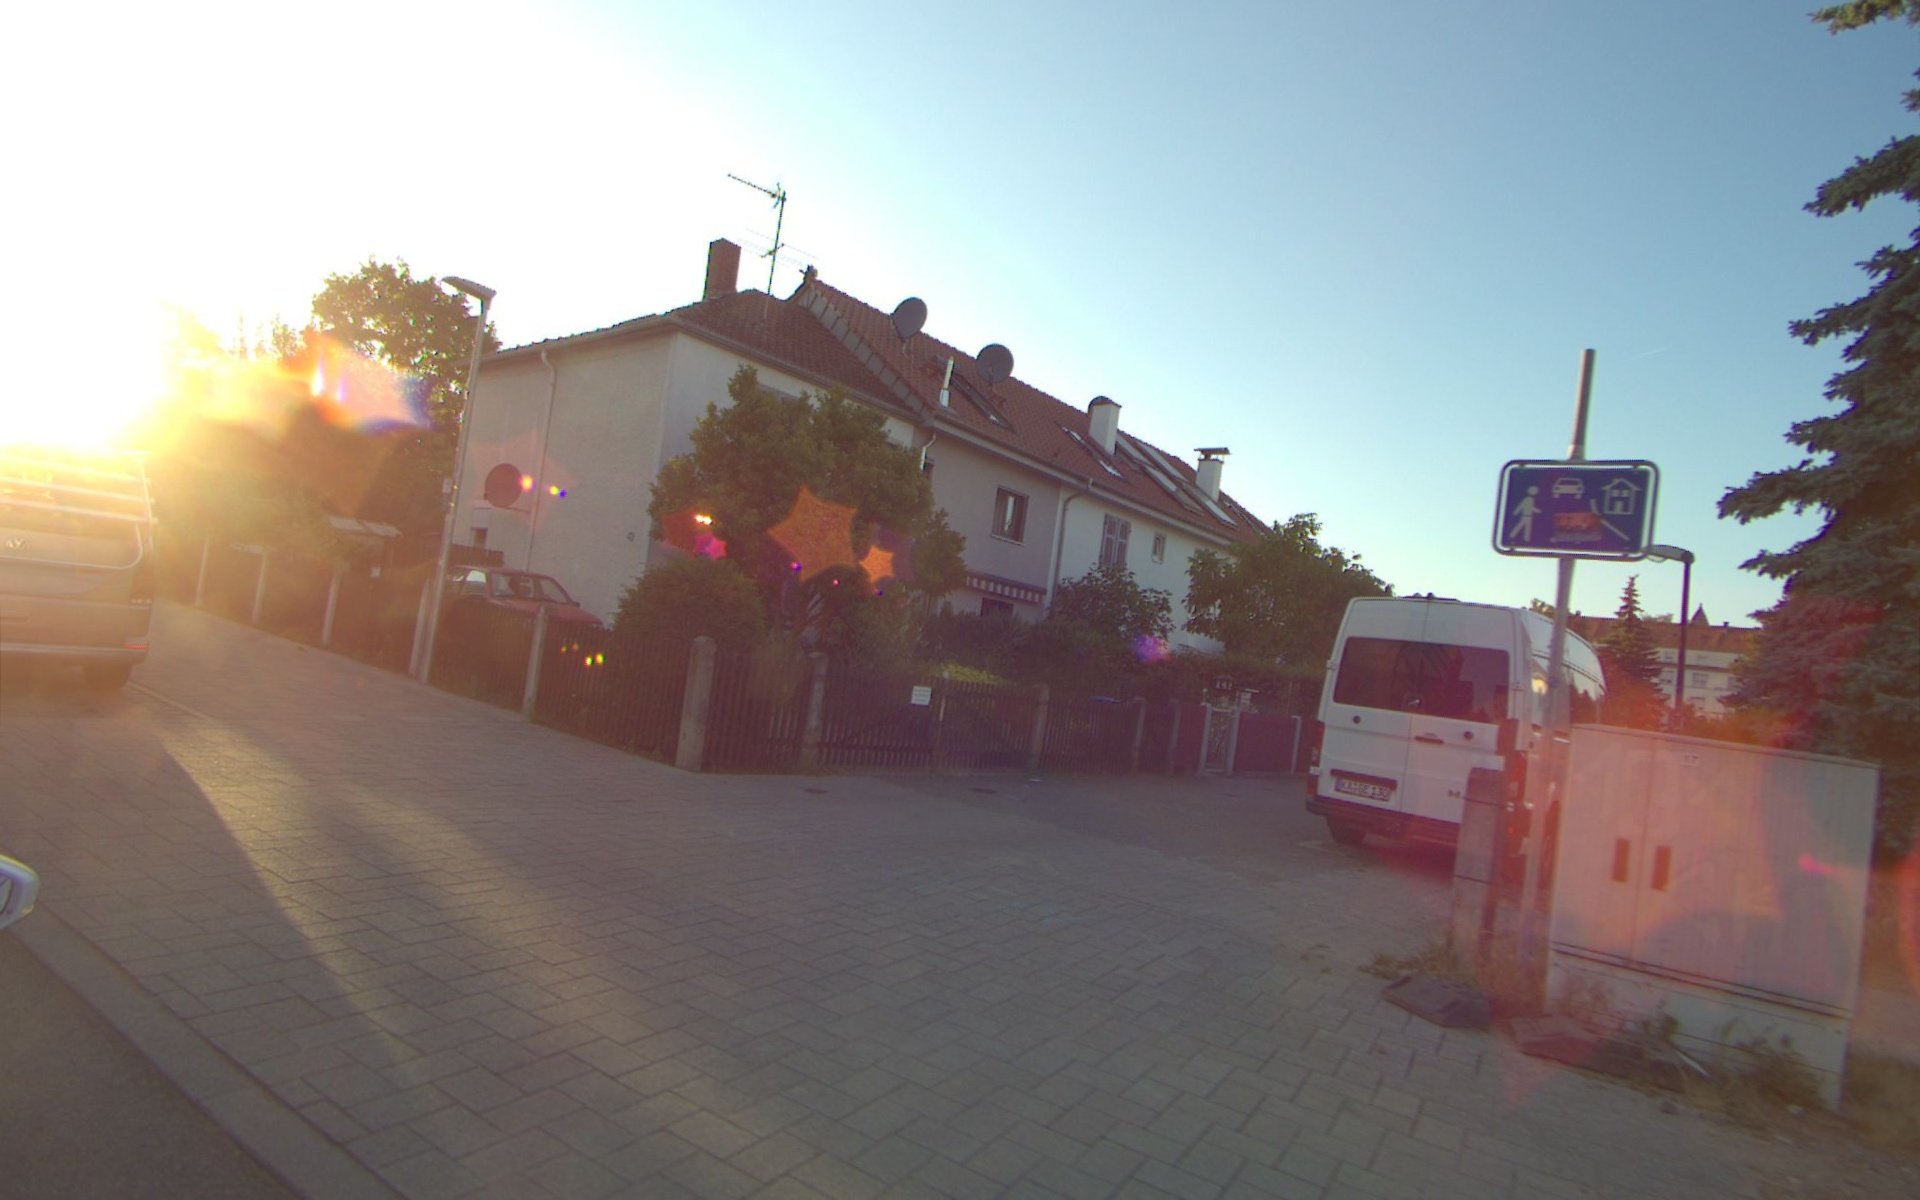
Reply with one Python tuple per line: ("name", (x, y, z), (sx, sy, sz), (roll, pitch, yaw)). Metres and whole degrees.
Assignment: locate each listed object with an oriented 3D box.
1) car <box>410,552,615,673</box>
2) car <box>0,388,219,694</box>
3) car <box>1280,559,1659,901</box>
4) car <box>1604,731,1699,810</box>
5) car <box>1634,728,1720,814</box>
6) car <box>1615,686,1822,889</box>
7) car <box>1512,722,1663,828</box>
("car", (-7.287, 0.168, 16.244), (3.589, 1.461, 1.527), (7, -2, 41))
("car", (-8.619, -0.630, 8.753), (4.798, 2.119, 2.066), (7, -2, 38))
("car", (5.888, 1.441, 11.117), (2.025, 2.723, 5.561), (9, -2, 42))
("car", (17.952, 4.396, 26.035), (1.656, 1.671, 4.088), (4, -5, 39))
("car", (22.181, 5.256, 31.048), (1.817, 2.198, 4.456), (4, -5, 39))
("car", (12.851, 3.084, 16.855), (2.025, 2.542, 5.561), (9, -2, 42))
("car", (11.478, 3.150, 18.280), (1.718, 1.493, 4.123), (4, -5, 40))
